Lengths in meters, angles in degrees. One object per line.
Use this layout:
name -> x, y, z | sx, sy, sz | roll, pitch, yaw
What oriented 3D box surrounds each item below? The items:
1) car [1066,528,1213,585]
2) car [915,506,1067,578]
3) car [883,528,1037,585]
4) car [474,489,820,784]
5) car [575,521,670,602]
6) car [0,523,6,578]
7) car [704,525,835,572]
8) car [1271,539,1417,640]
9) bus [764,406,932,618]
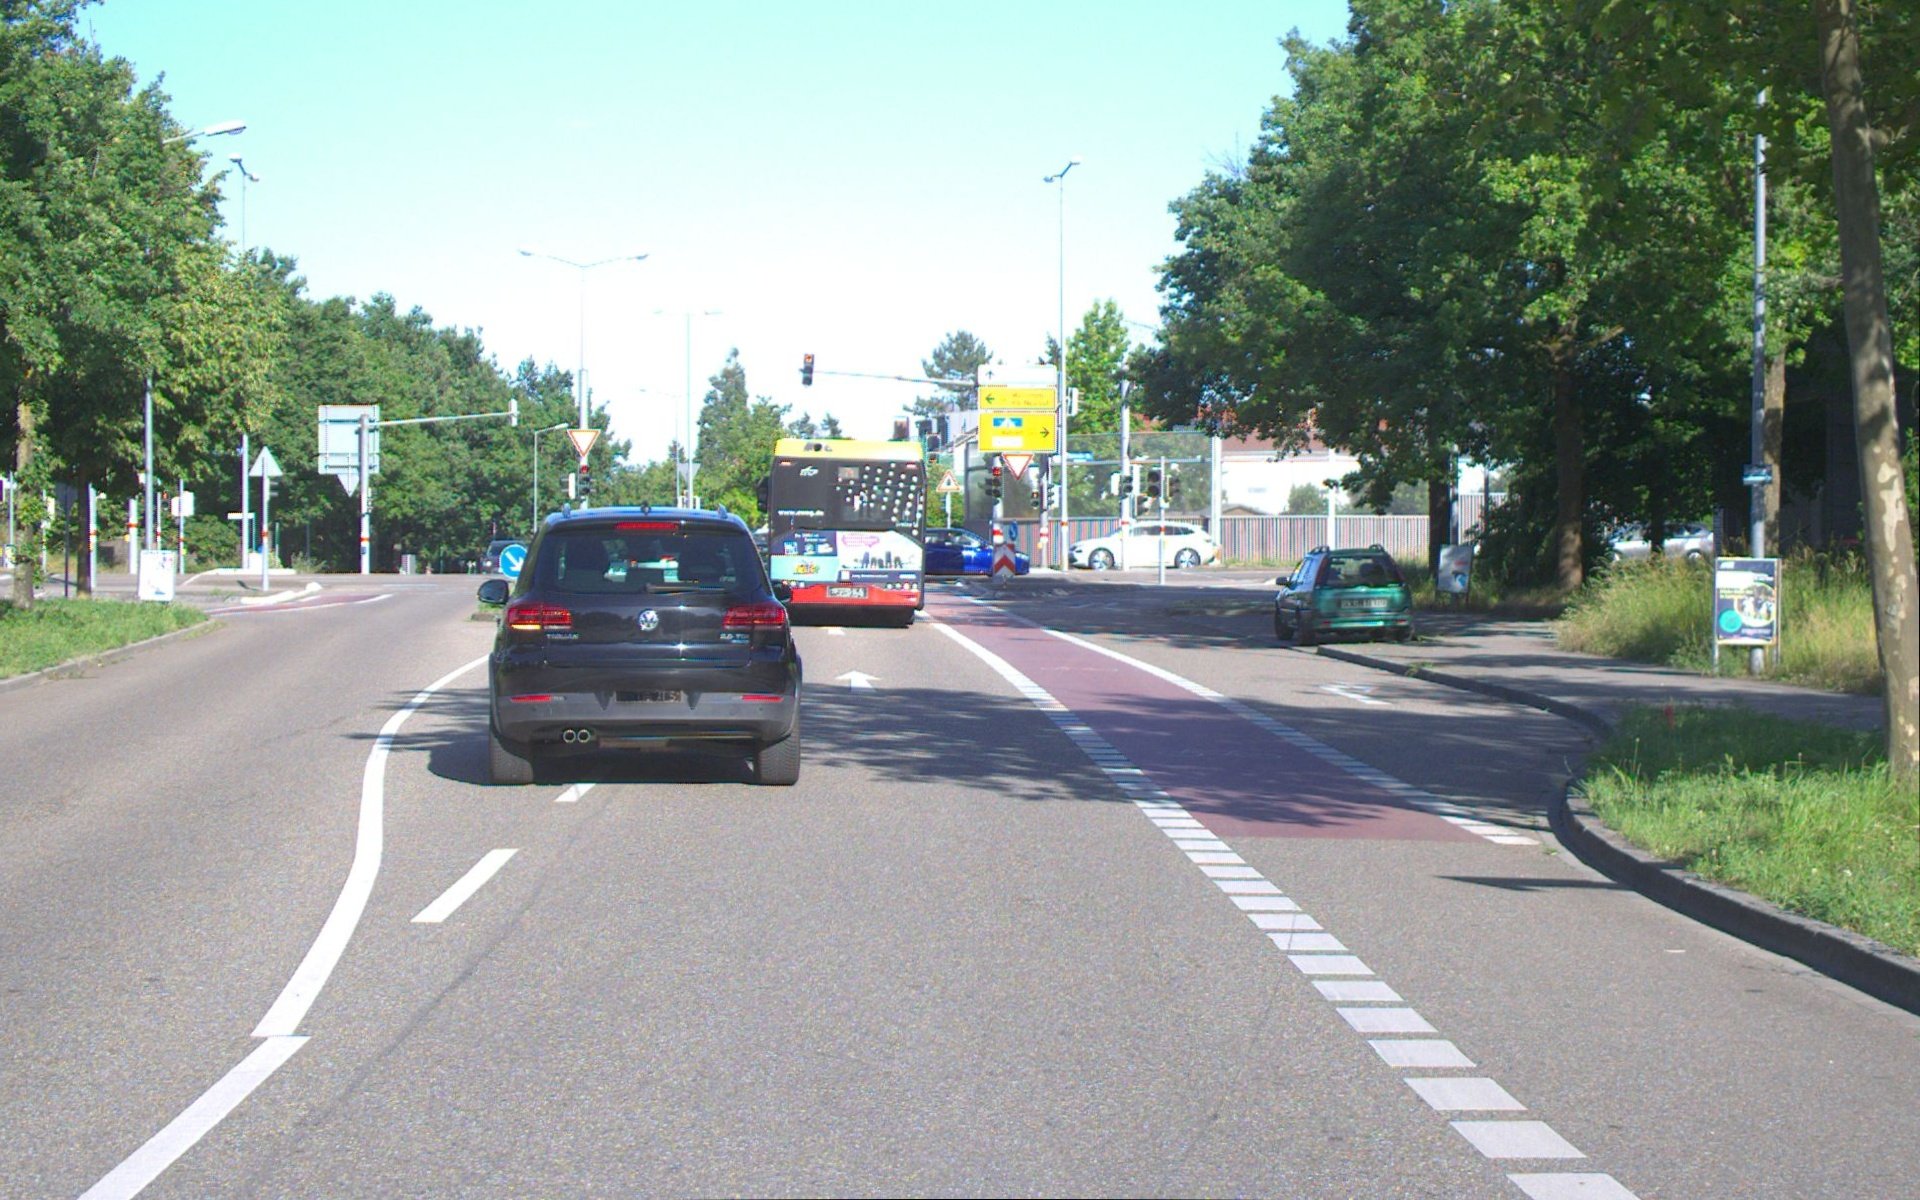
car -> 5.672, -1.380, 109.034 | 4.382, 1.677, 1.712 | 1, 0, -7
car -> 0.843, -1.618, 95.952 | 3.986, 1.873, 2.000 | 1, 0, -6
car -> 0.017, -1.049, 82.271 | 3.523, 1.297, 1.574 | 1, 1, 6
car -> -1.852, 0.187, 21.468 | 1.821, 1.668, 4.003 | 0, 0, 0
car -> -6.960, -0.799, 70.679 | 1.753, 1.615, 4.034 | 0, 1, -8
car -> -27.739, -1.362, 91.582 | 4.220, 1.475, 1.764 | 1, 0, -7
car -> -5.967, -1.612, 107.593 | 3.890, 1.335, 1.683 | 1, 0, -11
car -> 5.760, -0.189, 51.976 | 1.592, 1.424, 4.204 | -1, 1, -2
bus -> -2.050, -1.561, 60.959 | 2.596, 3.323, 11.985 | 1, 1, -3
